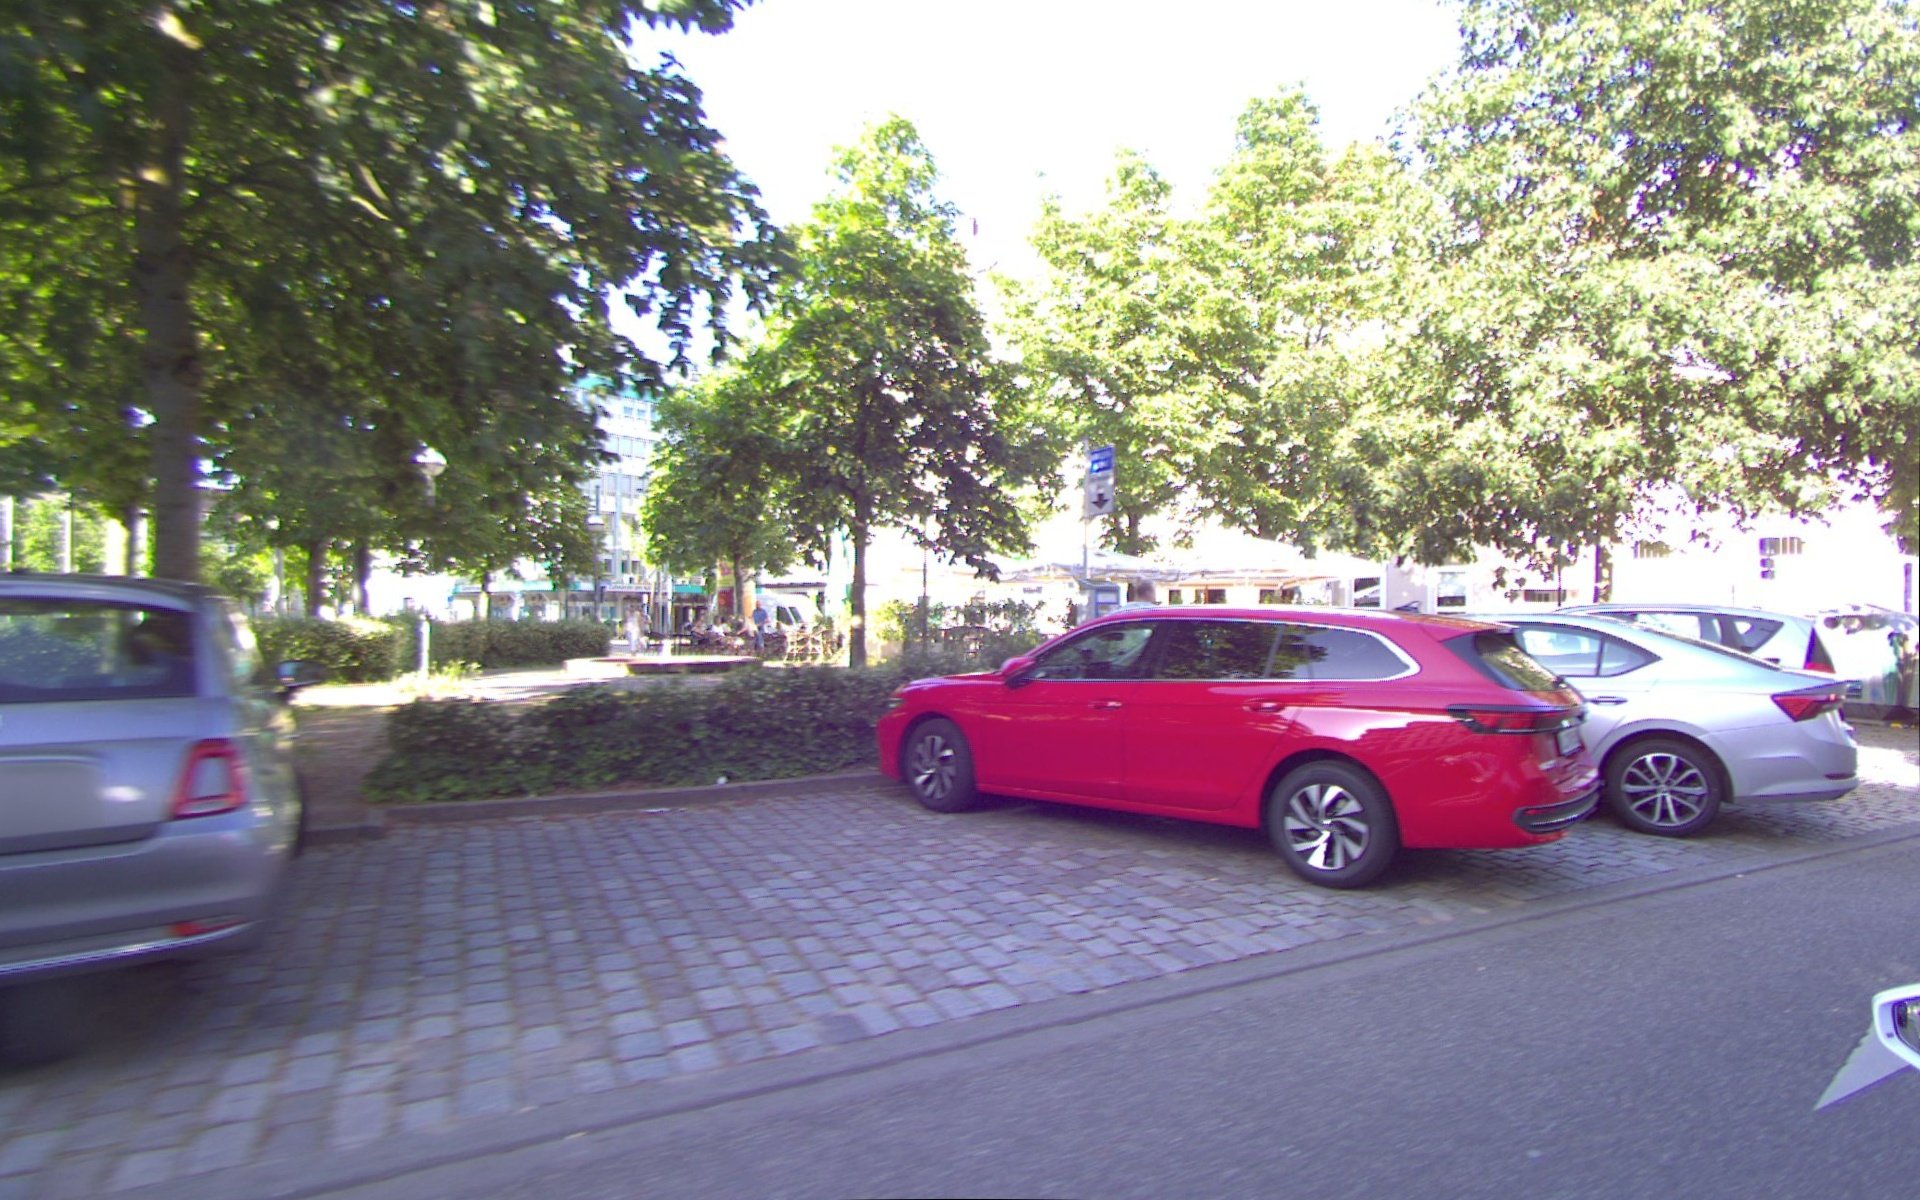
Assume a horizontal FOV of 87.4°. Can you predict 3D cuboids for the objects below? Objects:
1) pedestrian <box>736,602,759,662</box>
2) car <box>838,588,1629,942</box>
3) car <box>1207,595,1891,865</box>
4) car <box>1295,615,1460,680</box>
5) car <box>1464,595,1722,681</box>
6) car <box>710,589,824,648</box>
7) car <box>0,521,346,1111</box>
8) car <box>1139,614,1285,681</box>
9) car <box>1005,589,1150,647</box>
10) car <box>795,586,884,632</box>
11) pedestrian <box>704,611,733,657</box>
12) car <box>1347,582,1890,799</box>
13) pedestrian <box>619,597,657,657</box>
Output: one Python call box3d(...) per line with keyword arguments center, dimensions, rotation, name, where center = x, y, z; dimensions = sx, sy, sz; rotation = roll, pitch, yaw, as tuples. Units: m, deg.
box3d(center=(-5.728, 0.853, 27.067), dimensions=(0.548, 1.567, 0.672), rotation=(2, 0, -11), name="pedestrian")
box3d(center=(1.481, 0.735, 6.692), dimensions=(4.777, 1.508, 1.757), rotation=(2, 0, 40), name="car")
box3d(center=(4.268, 0.780, 7.865), dimensions=(4.165, 1.496, 1.730), rotation=(2, 0, 35), name="car")
box3d(center=(11.668, 1.279, 28.187), dimensions=(3.860, 1.585, 1.972), rotation=(2, 0, 40), name="car")
box3d(center=(15.595, 0.855, 24.948), dimensions=(5.194, 1.824, 2.156), rotation=(2, 0, 36), name="car")
box3d(center=(-8.491, 0.762, 43.955), dimensions=(5.272, 2.345, 1.991), rotation=(2, 0, 39), name="car")
box3d(center=(-3.756, 0.563, 4.387), dimensions=(1.730, 1.619, 3.967), rotation=(2, 0, -31), name="car")
box3d(center=(7.745, 1.413, 31.009), dimensions=(3.860, 1.794, 1.972), rotation=(2, 0, 40), name="car")
box3d(center=(4.597, 0.675, 39.868), dimensions=(5.503, 2.040, 1.811), rotation=(2, 0, 36), name="car")
box3d(center=(-6.083, 0.426, 50.401), dimensions=(4.764, 2.039, 1.544), rotation=(2, -4, 41), name="car")
box3d(center=(-6.739, 0.951, 27.989), dimensions=(0.553, 1.253, 0.666), rotation=(1, 0, -35), name="pedestrian")
box3d(center=(5.952, 0.695, 9.583), dimensions=(3.929, 1.607, 1.827), rotation=(2, 0, 31), name="car")
box3d(center=(-8.146, 0.670, 25.423), dimensions=(0.549, 1.484, 0.671), rotation=(2, 0, 34), name="pedestrian")
